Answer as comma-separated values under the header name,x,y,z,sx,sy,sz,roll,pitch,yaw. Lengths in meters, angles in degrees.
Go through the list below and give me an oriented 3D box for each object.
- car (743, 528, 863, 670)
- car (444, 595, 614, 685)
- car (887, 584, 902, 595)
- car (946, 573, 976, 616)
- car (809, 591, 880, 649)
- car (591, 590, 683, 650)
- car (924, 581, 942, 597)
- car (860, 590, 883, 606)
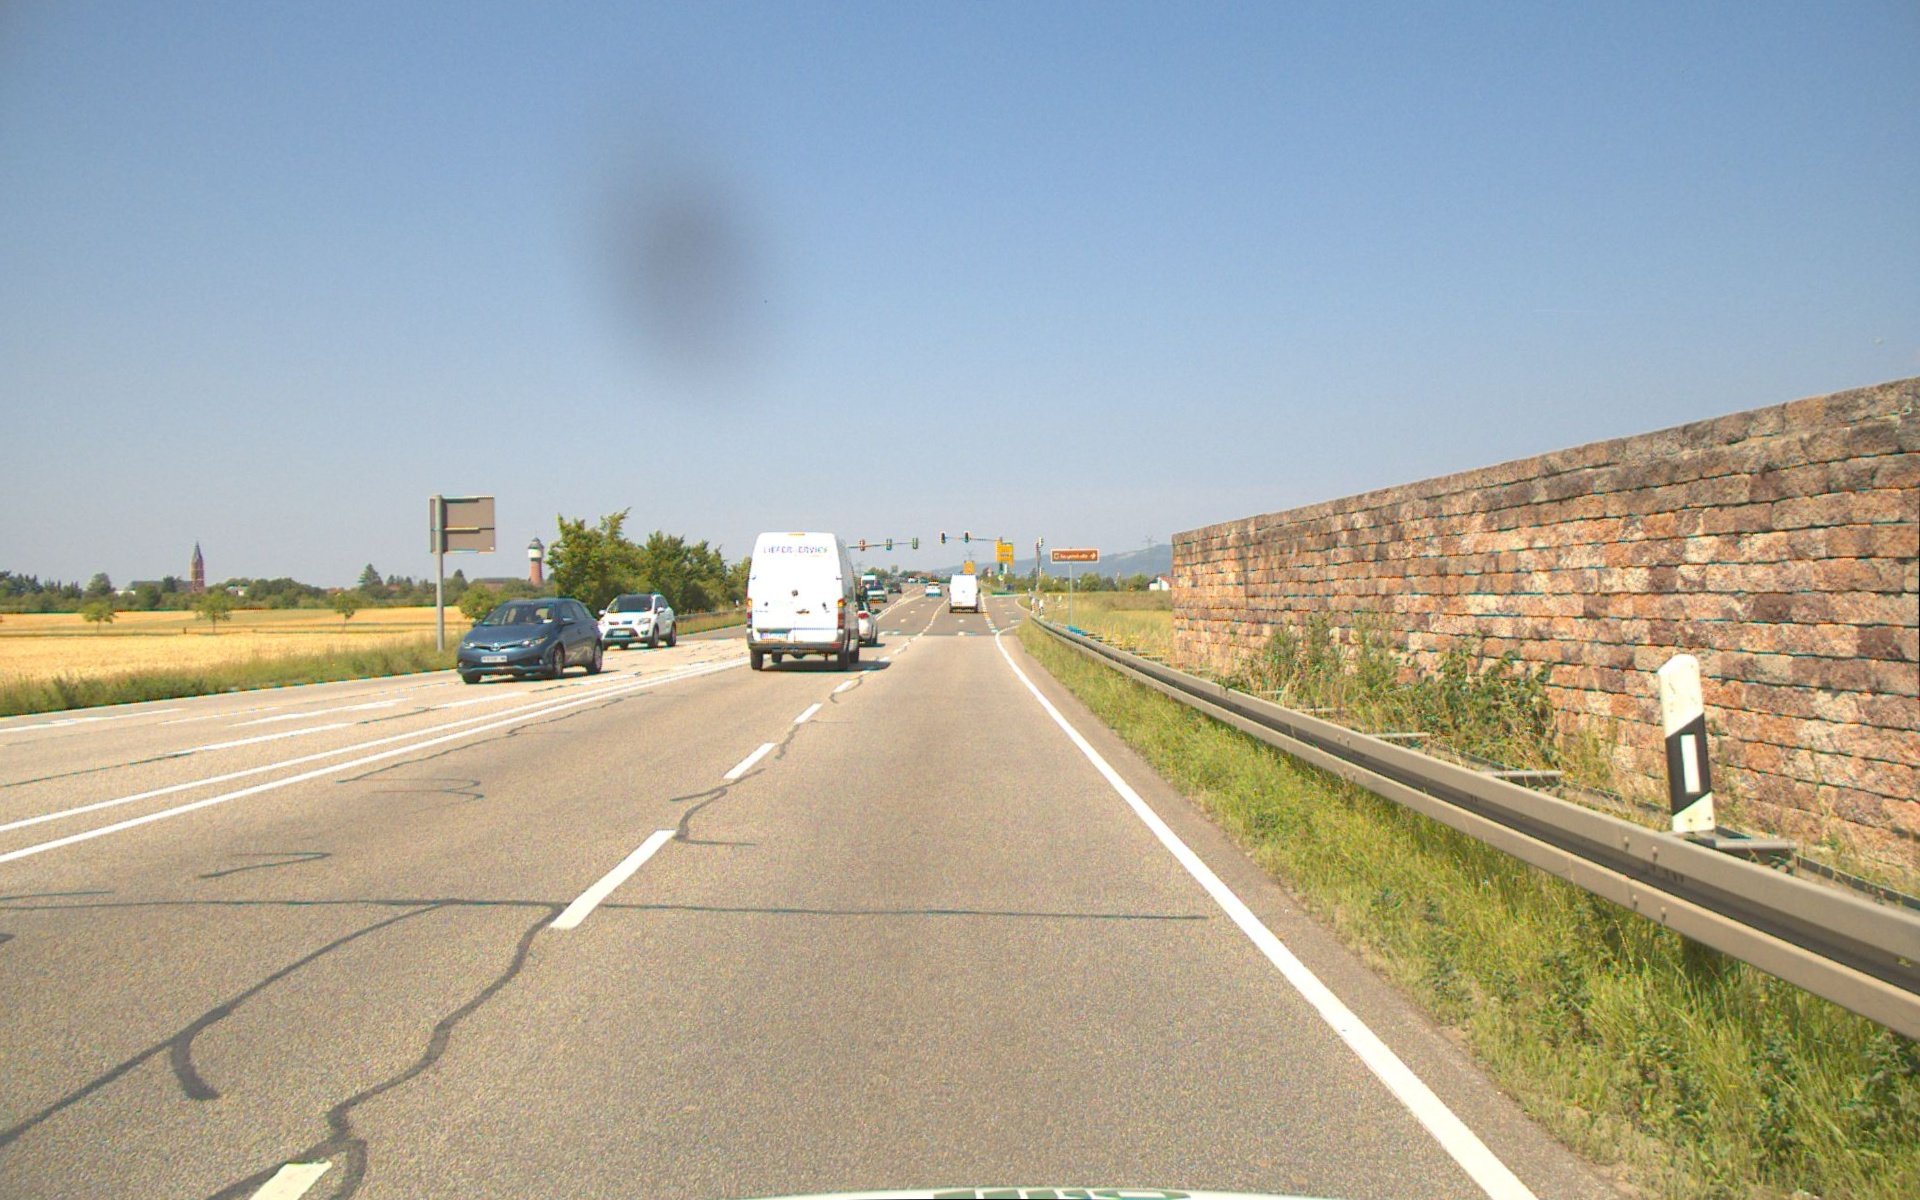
name,x,y,z,sx,sy,sz,roll,pitch,yaw
car,-3.151,-0.001,34.297,1.997,2.666,5.740,1,0,-1
car,-7.907,0.692,30.758,1.722,1.483,4.233,-3,0,4
car,-8.787,-1.421,221.752,1.819,1.448,4.000,0,0,1
car,0.062,-0.377,112.162,1.953,2.742,4.969,-2,0,0
car,-3.353,0.551,48.842,1.762,1.534,4.196,-2,1,0
car,-10.124,0.583,52.176,1.630,1.706,4.465,-3,0,4
car,-3.089,-1.259,189.783,1.952,1.733,4.275,1,0,0
car,-8.385,-0.241,157.028,1.819,1.448,4.001,-2,0,1
